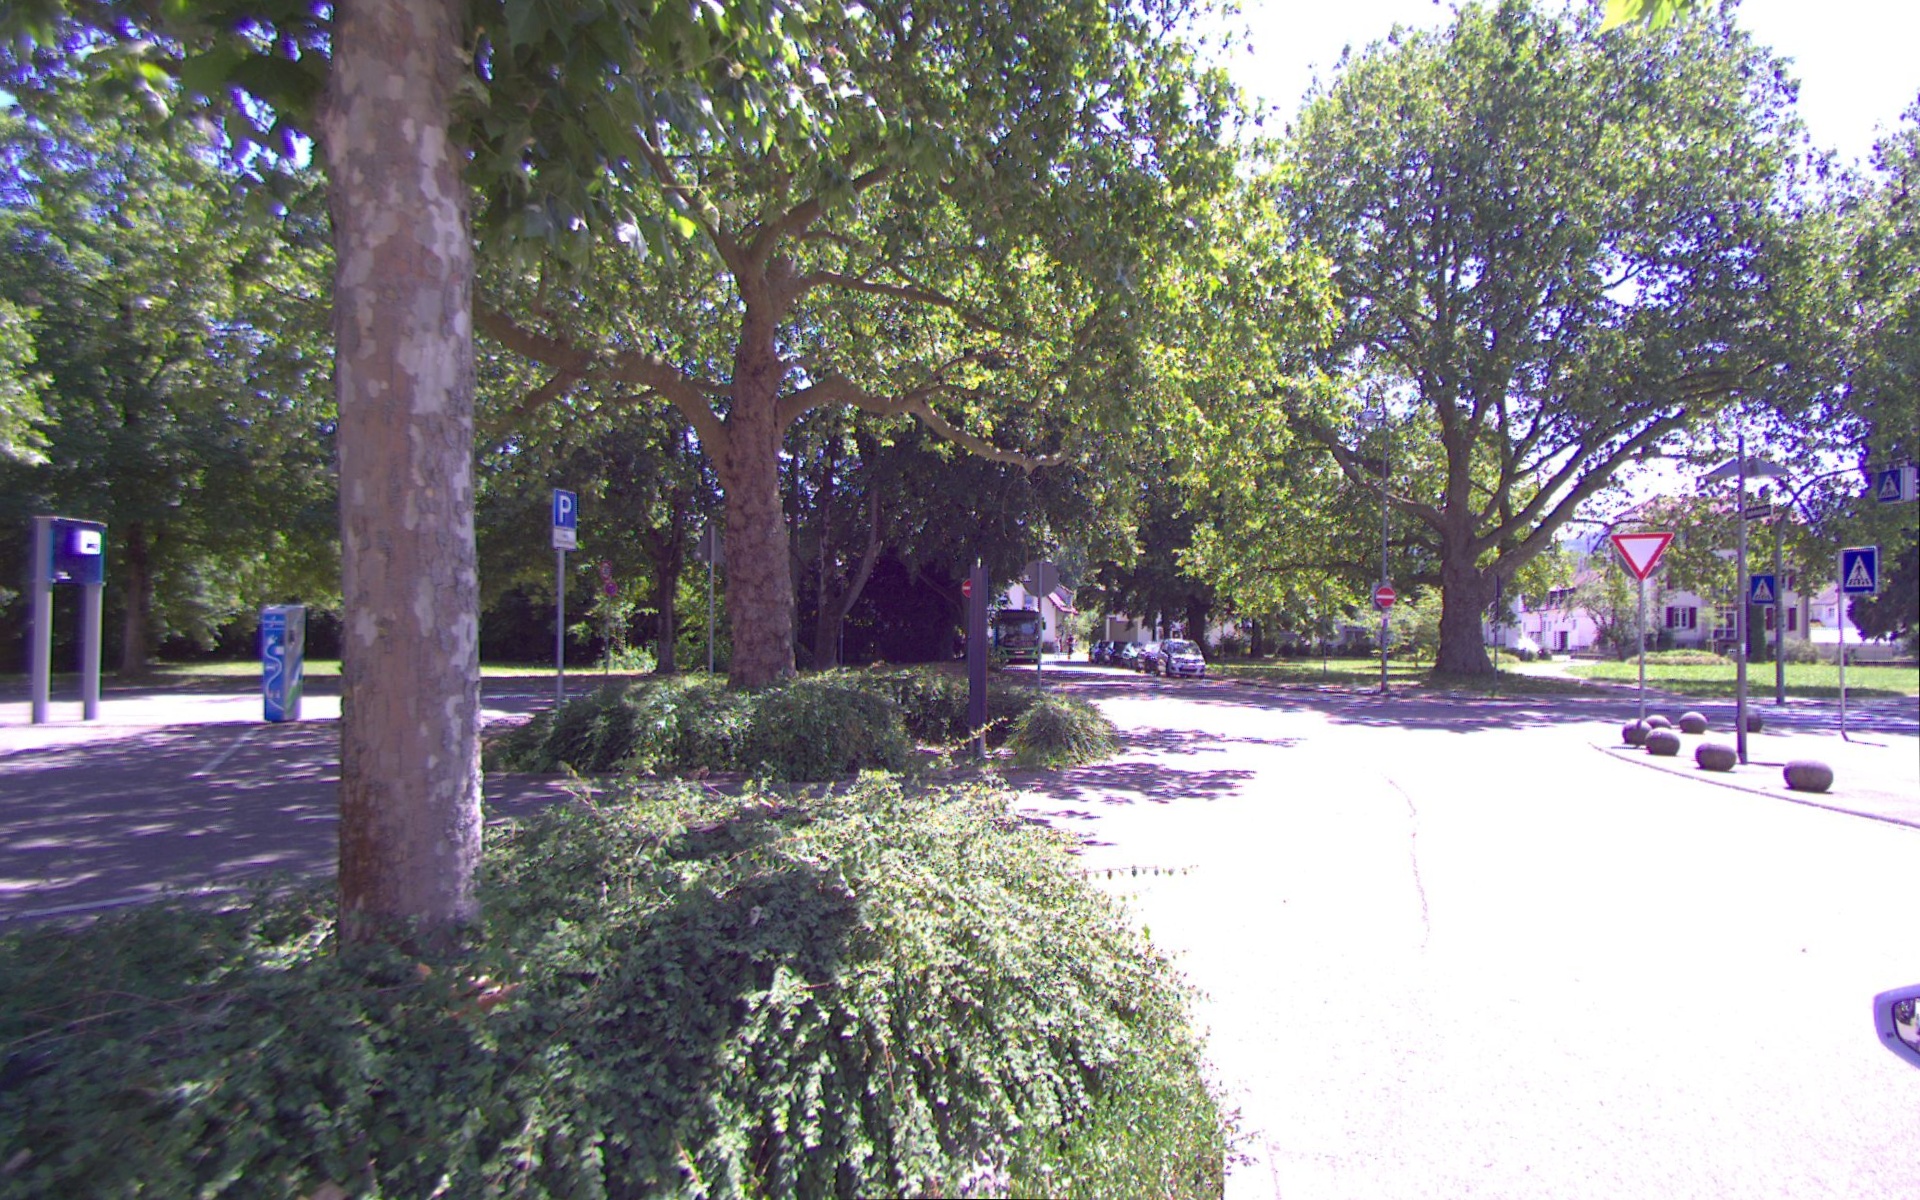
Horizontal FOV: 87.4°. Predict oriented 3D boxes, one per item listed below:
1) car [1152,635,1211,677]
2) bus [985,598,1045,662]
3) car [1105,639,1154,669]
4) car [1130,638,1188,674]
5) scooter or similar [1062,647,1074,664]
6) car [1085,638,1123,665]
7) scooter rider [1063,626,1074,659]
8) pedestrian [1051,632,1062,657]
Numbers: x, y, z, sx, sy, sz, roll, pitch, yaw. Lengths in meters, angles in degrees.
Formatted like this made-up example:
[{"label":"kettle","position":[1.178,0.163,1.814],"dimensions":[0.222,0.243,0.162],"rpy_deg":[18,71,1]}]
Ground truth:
[{"label":"car","position":[8.830,2.211,40.340],"dimensions":[1.568,1.516,3.486],"rpy_deg":[2,-2,0]},{"label":"bus","position":[3.136,1.888,61.578],"dimensions":[2.820,3.338,15.955],"rpy_deg":[1,-2,0]},{"label":"car","position":[8.783,2.778,52.347],"dimensions":[1.721,1.458,4.771],"rpy_deg":[1,-2,0]},{"label":"car","position":[9.008,2.504,45.727],"dimensions":[1.721,1.458,4.504],"rpy_deg":[2,-2,0]},{"label":"scooter or similar","position":[7.656,3.934,71.170],"dimensions":[0.726,1.198,1.519],"rpy_deg":[1,-2,2]},{"label":"car","position":[8.710,3.128,61.100],"dimensions":[1.725,1.512,3.918],"rpy_deg":[1,-2,0]},{"label":"scooter rider","position":[7.674,3.007,71.202],"dimensions":[0.726,2.348,0.927],"rpy_deg":[1,-1,2]},{"label":"pedestrian","position":[7.106,3.242,73.959],"dimensions":[0.707,1.826,0.941],"rpy_deg":[1,-1,6]}]
